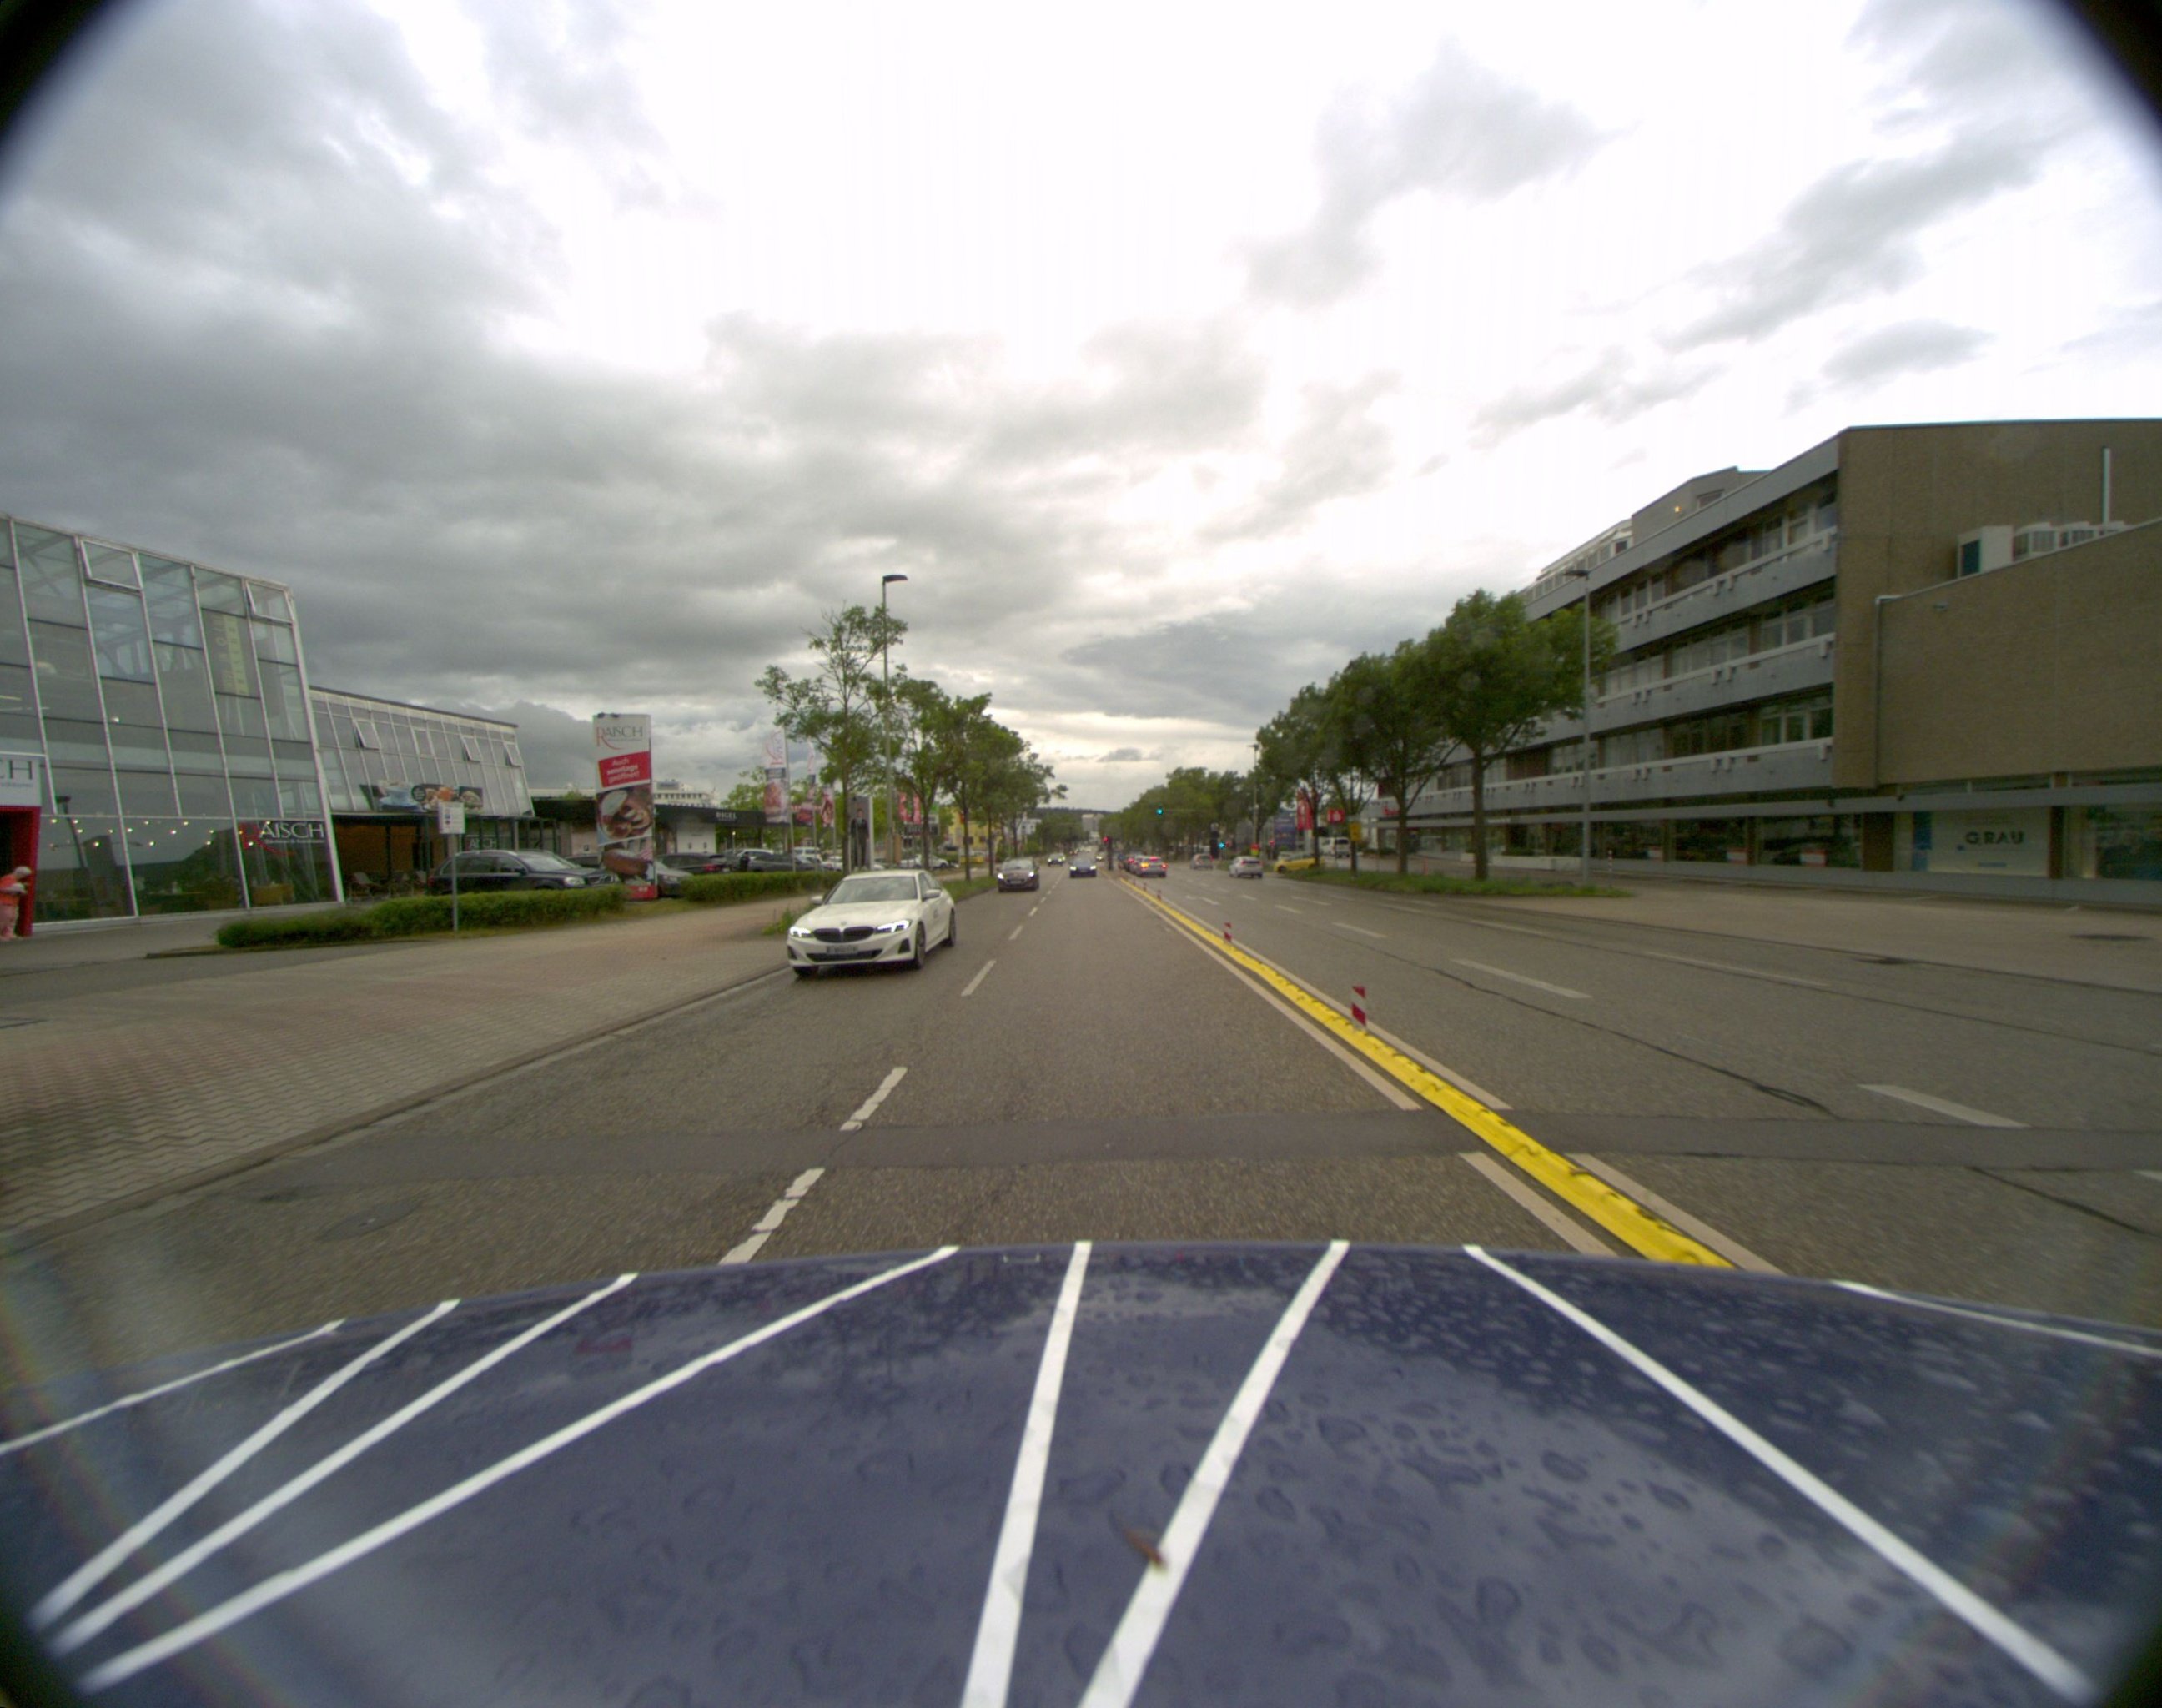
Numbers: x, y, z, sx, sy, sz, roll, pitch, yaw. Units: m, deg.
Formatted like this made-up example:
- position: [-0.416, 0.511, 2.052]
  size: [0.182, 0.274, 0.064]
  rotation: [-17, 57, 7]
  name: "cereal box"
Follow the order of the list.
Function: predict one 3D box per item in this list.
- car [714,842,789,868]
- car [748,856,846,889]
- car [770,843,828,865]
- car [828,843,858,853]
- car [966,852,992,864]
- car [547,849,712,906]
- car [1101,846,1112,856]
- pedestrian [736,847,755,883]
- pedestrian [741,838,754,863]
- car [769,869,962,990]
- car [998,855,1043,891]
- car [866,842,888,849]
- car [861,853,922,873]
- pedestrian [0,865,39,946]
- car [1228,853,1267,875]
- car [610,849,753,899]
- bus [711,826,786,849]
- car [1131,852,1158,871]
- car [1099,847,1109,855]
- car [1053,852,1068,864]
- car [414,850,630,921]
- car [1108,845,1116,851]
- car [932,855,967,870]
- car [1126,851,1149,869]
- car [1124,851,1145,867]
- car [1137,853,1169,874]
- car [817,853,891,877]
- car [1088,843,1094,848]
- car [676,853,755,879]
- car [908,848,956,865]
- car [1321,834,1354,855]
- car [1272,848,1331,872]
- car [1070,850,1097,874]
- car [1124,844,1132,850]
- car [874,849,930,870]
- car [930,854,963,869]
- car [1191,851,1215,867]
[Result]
- position: [-23.357, 0.062, 53.930]
  size: [4.507, 1.672, 1.794]
  rotation: [2, 2, -37]
  name: "car"
- position: [-14.289, 0.919, 38.360]
  size: [4.179, 1.464, 1.862]
  rotation: [2, 1, 0]
  name: "car"
- position: [-23.647, 0.029, 63.750]
  size: [4.125, 1.736, 1.794]
  rotation: [1, 2, -43]
  name: "car"
- position: [-45.214, -1.137, 144.291]
  size: [5.092, 1.787, 2.034]
  rotation: [0, 0, 1]
  name: "car"
- position: [-15.888, 0.628, 118.417]
  size: [4.001, 1.802, 1.766]
  rotation: [0, 1, -11]
  name: "car"
- position: [-14.323, 0.720, 24.232]
  size: [4.178, 1.591, 1.828]
  rotation: [2, 1, 4]
  name: "car"
- position: [4.112, -0.489, 122.172]
  size: [1.754, 1.501, 4.000]
  rotation: [0, 0, 0]
  name: "car"
- position: [-17.036, 0.555, 38.590]
  size: [0.633, 1.779, 0.850]
  rotation: [-3, 1, -15]
  name: "pedestrian"
- position: [-26.772, -0.262, 61.020]
  size: [0.613, 2.002, 0.657]
  rotation: [-3, 1, 1]
  name: "pedestrian"
- position: [-3.240, 1.062, 12.446]
  size: [1.808, 1.432, 4.541]
  rotation: [-3, 0, 0]
  name: "car"
- position: [-2.887, 0.878, 37.028]
  size: [1.799, 1.572, 4.218]
  rotation: [-3, 0, 0]
  name: "car"
- position: [-44.115, -1.893, 164.246]
  size: [4.221, 1.572, 1.823]
  rotation: [0, 0, 1]
  name: "car"
- position: [-14.106, 0.673, 56.601]
  size: [4.028, 1.429, 1.738]
  rotation: [1, 1, -42]
  name: "car"
- position: [-23.952, 1.145, 16.918]
  size: [0.683, 1.750, 0.751]
  rotation: [0, 3, 33]
  name: "pedestrian"
- position: [11.277, 0.638, 51.769]
  size: [1.745, 1.398, 4.468]
  rotation: [1, 1, 1]
  name: "car"
- position: [-14.259, 0.676, 27.240]
  size: [4.178, 1.591, 1.800]
  rotation: [2, 1, 4]
  name: "car"
- position: [-53.449, -2.553, 123.200]
  size: [4.102, 3.493, 17.333]
  rotation: [0, 0, 2]
  name: "bus"
- position: [4.951, 0.568, 59.334]
  size: [1.745, 1.398, 3.999]
  rotation: [0, 0, 0]
  name: "car"
- position: [4.038, -0.526, 134.143]
  size: [1.754, 1.501, 4.000]
  rotation: [0, 0, 0]
  name: "car"
- position: [-2.656, 0.517, 99.297]
  size: [1.754, 1.501, 4.000]
  rotation: [0, 0, 0]
  name: "car"
- position: [-14.706, 0.774, 20.087]
  size: [4.663, 1.591, 1.928]
  rotation: [2, 1, 11]
  name: "car"
- position: [7.536, -1.506, 182.979]
  size: [1.754, 1.501, 4.000]
  rotation: [0, 0, 0]
  name: "car"
- position: [-15.744, 1.007, 90.999]
  size: [3.998, 1.502, 1.742]
  rotation: [-2, 3, -5]
  name: "car"
- position: [4.863, 0.467, 66.101]
  size: [1.754, 1.516, 4.000]
  rotation: [0, 0, 0]
  name: "car"
- position: [5.306, 0.477, 75.882]
  size: [1.754, 1.501, 4.000]
  rotation: [0, 0, 0]
  name: "car"
- position: [4.910, 0.613, 52.260]
  size: [1.788, 1.398, 4.616]
  rotation: [0, 0, 0]
  name: "car"
- position: [-14.694, 0.737, 49.284]
  size: [4.191, 1.464, 1.785]
  rotation: [2, 1, -36]
  name: "car"
- position: [3.299, -2.734, 242.910]
  size: [1.753, 1.501, 4.000]
  rotation: [0, 0, 2]
  name: "car"
- position: [-22.738, 0.728, 47.291]
  size: [4.052, 1.470, 1.794]
  rotation: [1, 2, -42]
  name: "car"
- position: [-14.643, 0.277, 74.747]
  size: [1.738, 1.570, 4.324]
  rotation: [3, 1, 45]
  name: "car"
- position: [25.863, -0.952, 76.717]
  size: [1.997, 2.002, 4.886]
  rotation: [2, 1, 5]
  name: "car"
- position: [16.159, 0.439, 55.725]
  size: [3.702, 1.500, 1.624]
  rotation: [-4, 2, 35]
  name: "car"
- position: [0.165, 0.555, 54.851]
  size: [1.799, 1.572, 4.218]
  rotation: [-3, 0, 0]
  name: "car"
- position: [11.535, -1.648, 186.057]
  size: [1.754, 1.566, 4.000]
  rotation: [0, 0, 0]
  name: "car"
- position: [-14.776, 0.481, 62.808]
  size: [4.186, 1.570, 1.738]
  rotation: [2, 1, -38]
  name: "car"
- position: [-14.504, 0.782, 81.881]
  size: [1.747, 1.570, 3.864]
  rotation: [0, -1, -39]
  name: "car"
- position: [11.992, 0.472, 75.035]
  size: [1.745, 1.544, 4.782]
  rotation: [-1, 0, 1]
  name: "car"
